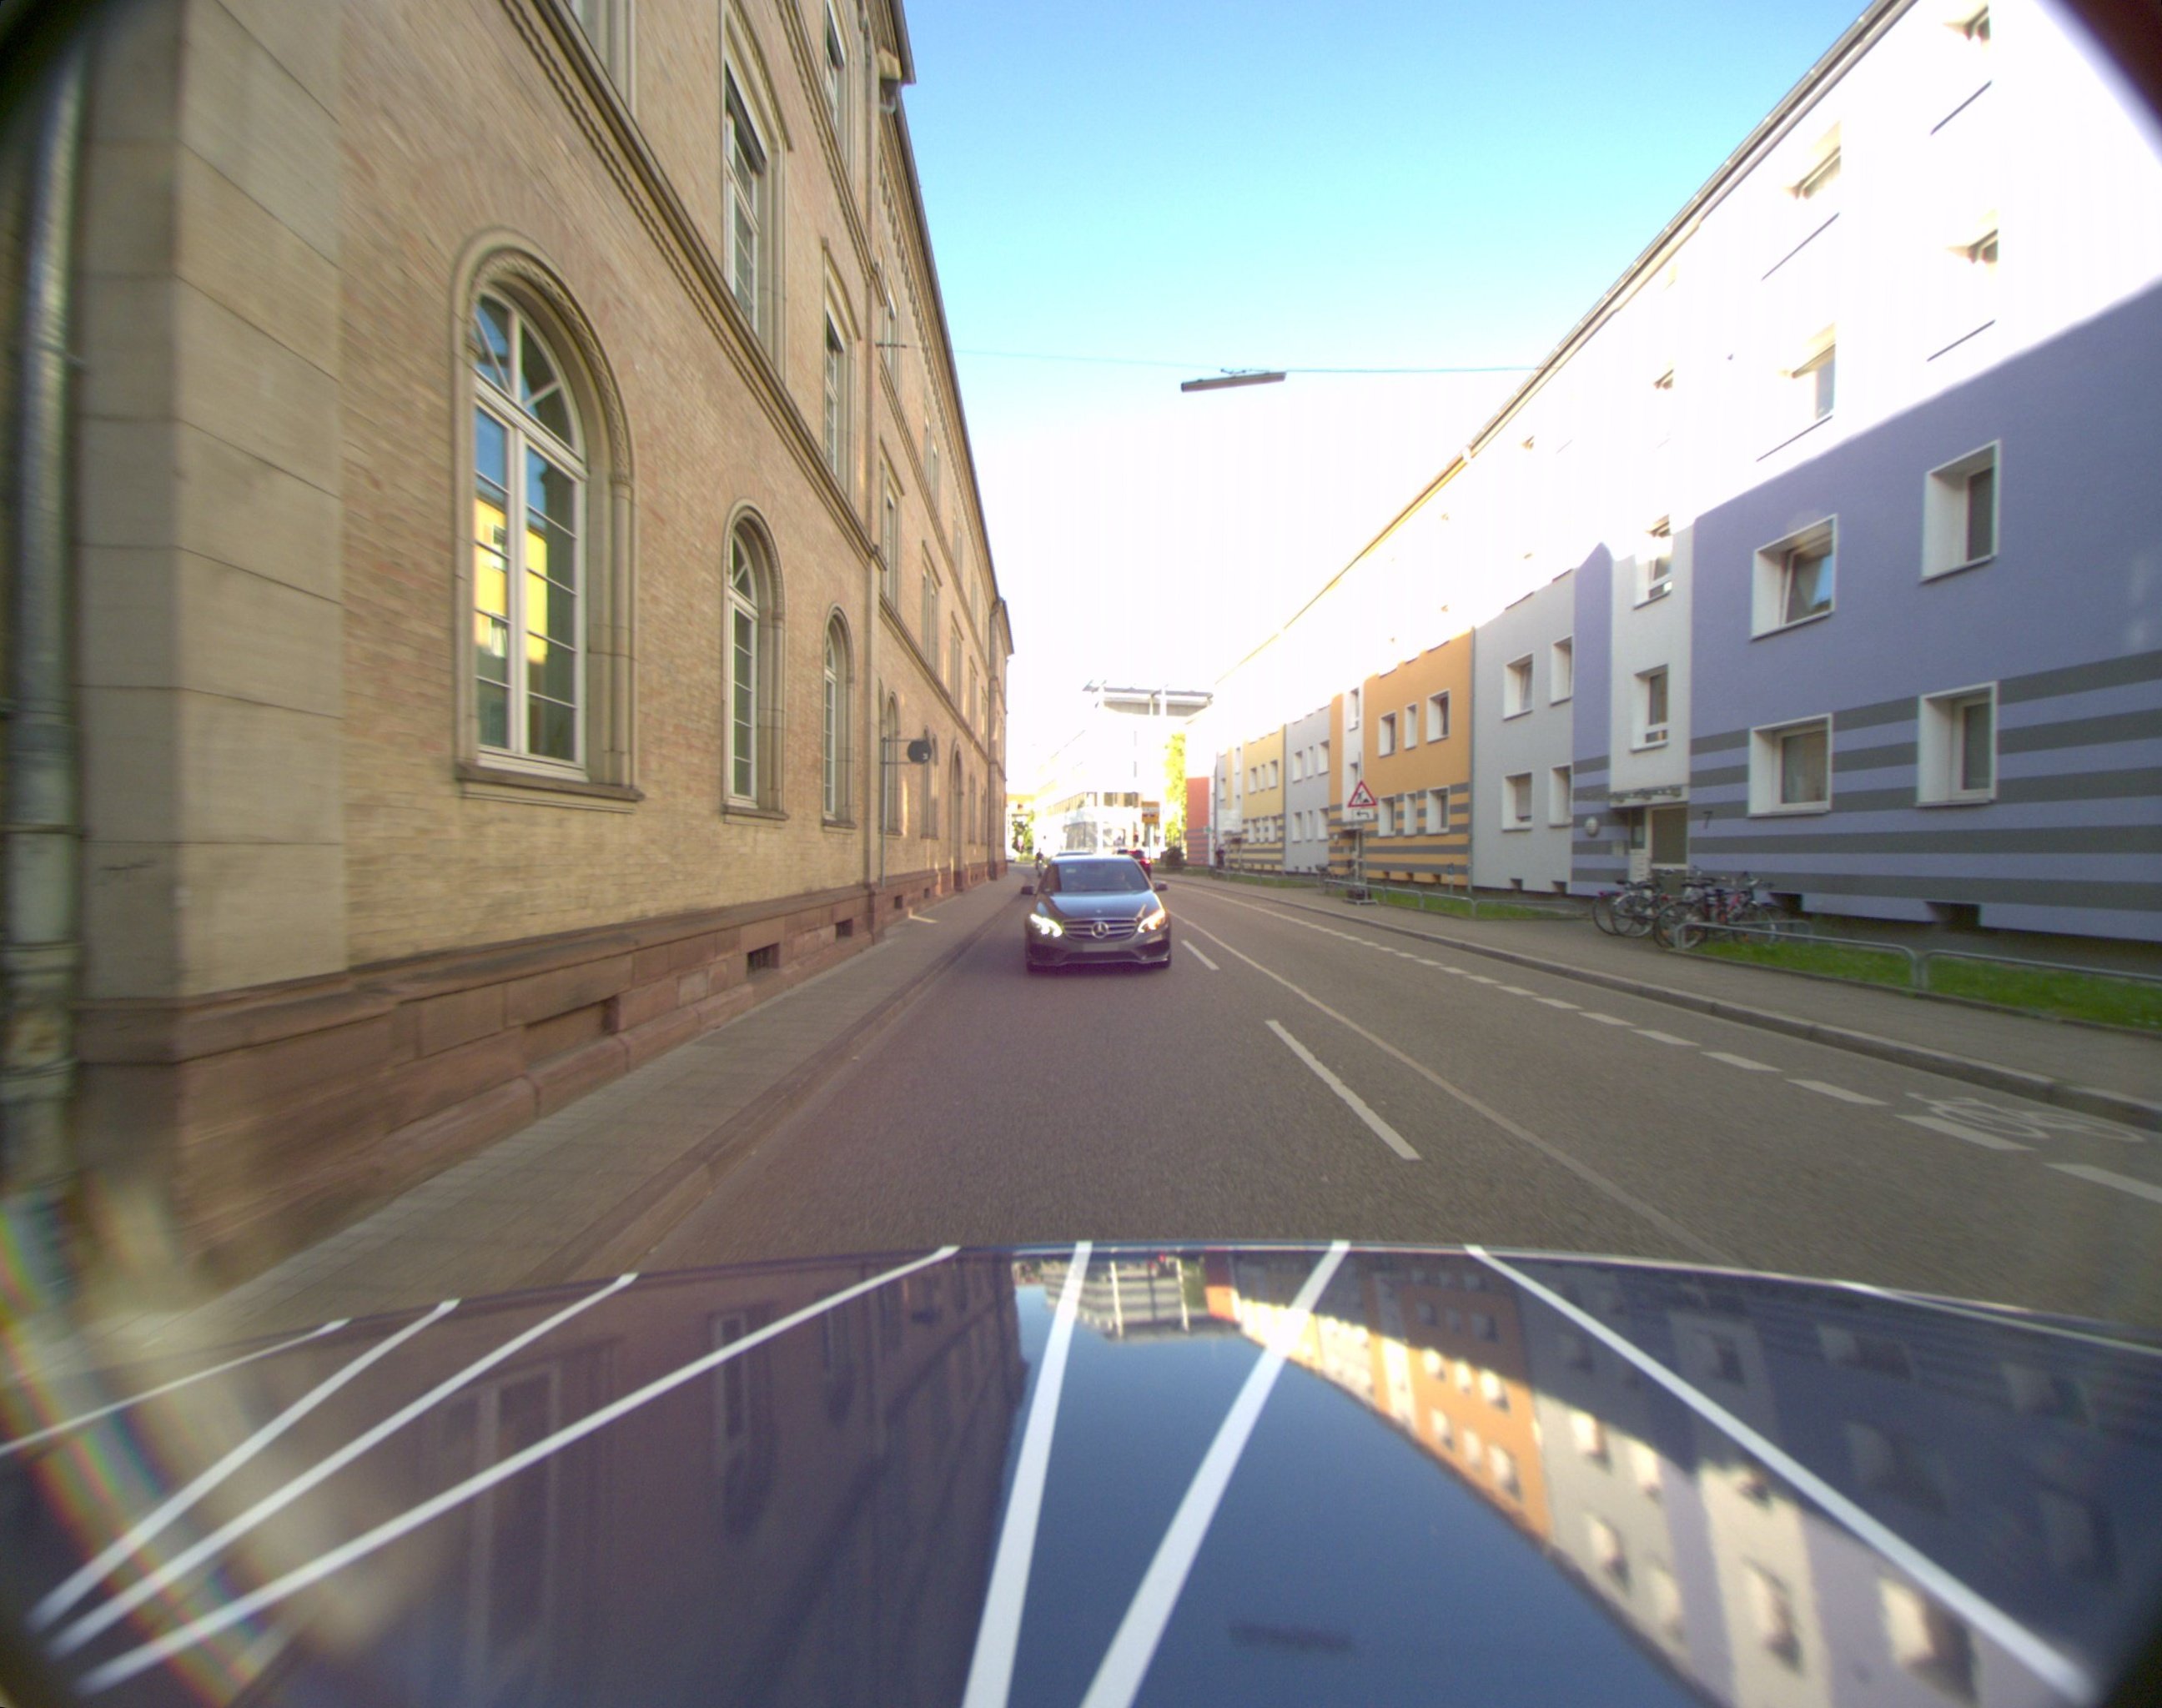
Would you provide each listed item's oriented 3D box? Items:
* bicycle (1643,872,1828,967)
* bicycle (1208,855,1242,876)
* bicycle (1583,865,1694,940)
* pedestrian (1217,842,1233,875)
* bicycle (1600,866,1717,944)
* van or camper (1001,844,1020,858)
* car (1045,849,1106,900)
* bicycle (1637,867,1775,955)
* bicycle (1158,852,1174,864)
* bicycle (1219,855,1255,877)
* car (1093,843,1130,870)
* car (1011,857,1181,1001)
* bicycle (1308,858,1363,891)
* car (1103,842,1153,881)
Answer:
[{"bbox_3d":[8.866,0.873,10.331,2.014,1.224,0.623,0,1,-3],"label":"bicycle"},{"bbox_3d":[8.062,0.638,42.613,1.757,1.139,0.650,0,1,-10],"label":"bicycle"},{"bbox_3d":[9.327,0.805,12.726,1.584,1.234,0.384,0,1,-3],"label":"bicycle"},{"bbox_3d":[8.154,0.251,42.968,0.720,1.844,0.871,1,1,19],"label":"pedestrian"},{"bbox_3d":[9.341,0.810,12.309,1.589,1.234,0.449,0,1,-3],"label":"bicycle"},{"bbox_3d":[-10.240,-0.429,109.972,2.163,2.002,4.970,0,1,-13],"label":"van or camper"},{"bbox_3d":[-0.262,0.635,25.989,1.748,1.594,3.997,0,1,-5],"label":"car"},{"bbox_3d":[9.074,0.817,11.052,1.643,1.234,0.467,0,1,-3],"label":"bicycle"},{"bbox_3d":[9.221,0.434,82.366,0.471,1.175,1.987,-1,2,-41],"label":"bicycle"},{"bbox_3d":[8.471,0.645,41.256,1.757,1.139,0.650,0,1,-10],"label":"bicycle"},{"bbox_3d":[1.819,0.140,46.180,1.746,1.477,4.134,2,0,-4],"label":"car"},{"bbox_3d":[0.198,0.824,10.616,1.798,1.460,4.719,-2,0,1],"label":"car"},{"bbox_3d":[9.064,0.727,27.102,1.757,1.139,0.650,0,1,-10],"label":"bicycle"},{"bbox_3d":[2.336,0.347,39.101,1.905,1.824,5.092,2,0,-3],"label":"car"}]
